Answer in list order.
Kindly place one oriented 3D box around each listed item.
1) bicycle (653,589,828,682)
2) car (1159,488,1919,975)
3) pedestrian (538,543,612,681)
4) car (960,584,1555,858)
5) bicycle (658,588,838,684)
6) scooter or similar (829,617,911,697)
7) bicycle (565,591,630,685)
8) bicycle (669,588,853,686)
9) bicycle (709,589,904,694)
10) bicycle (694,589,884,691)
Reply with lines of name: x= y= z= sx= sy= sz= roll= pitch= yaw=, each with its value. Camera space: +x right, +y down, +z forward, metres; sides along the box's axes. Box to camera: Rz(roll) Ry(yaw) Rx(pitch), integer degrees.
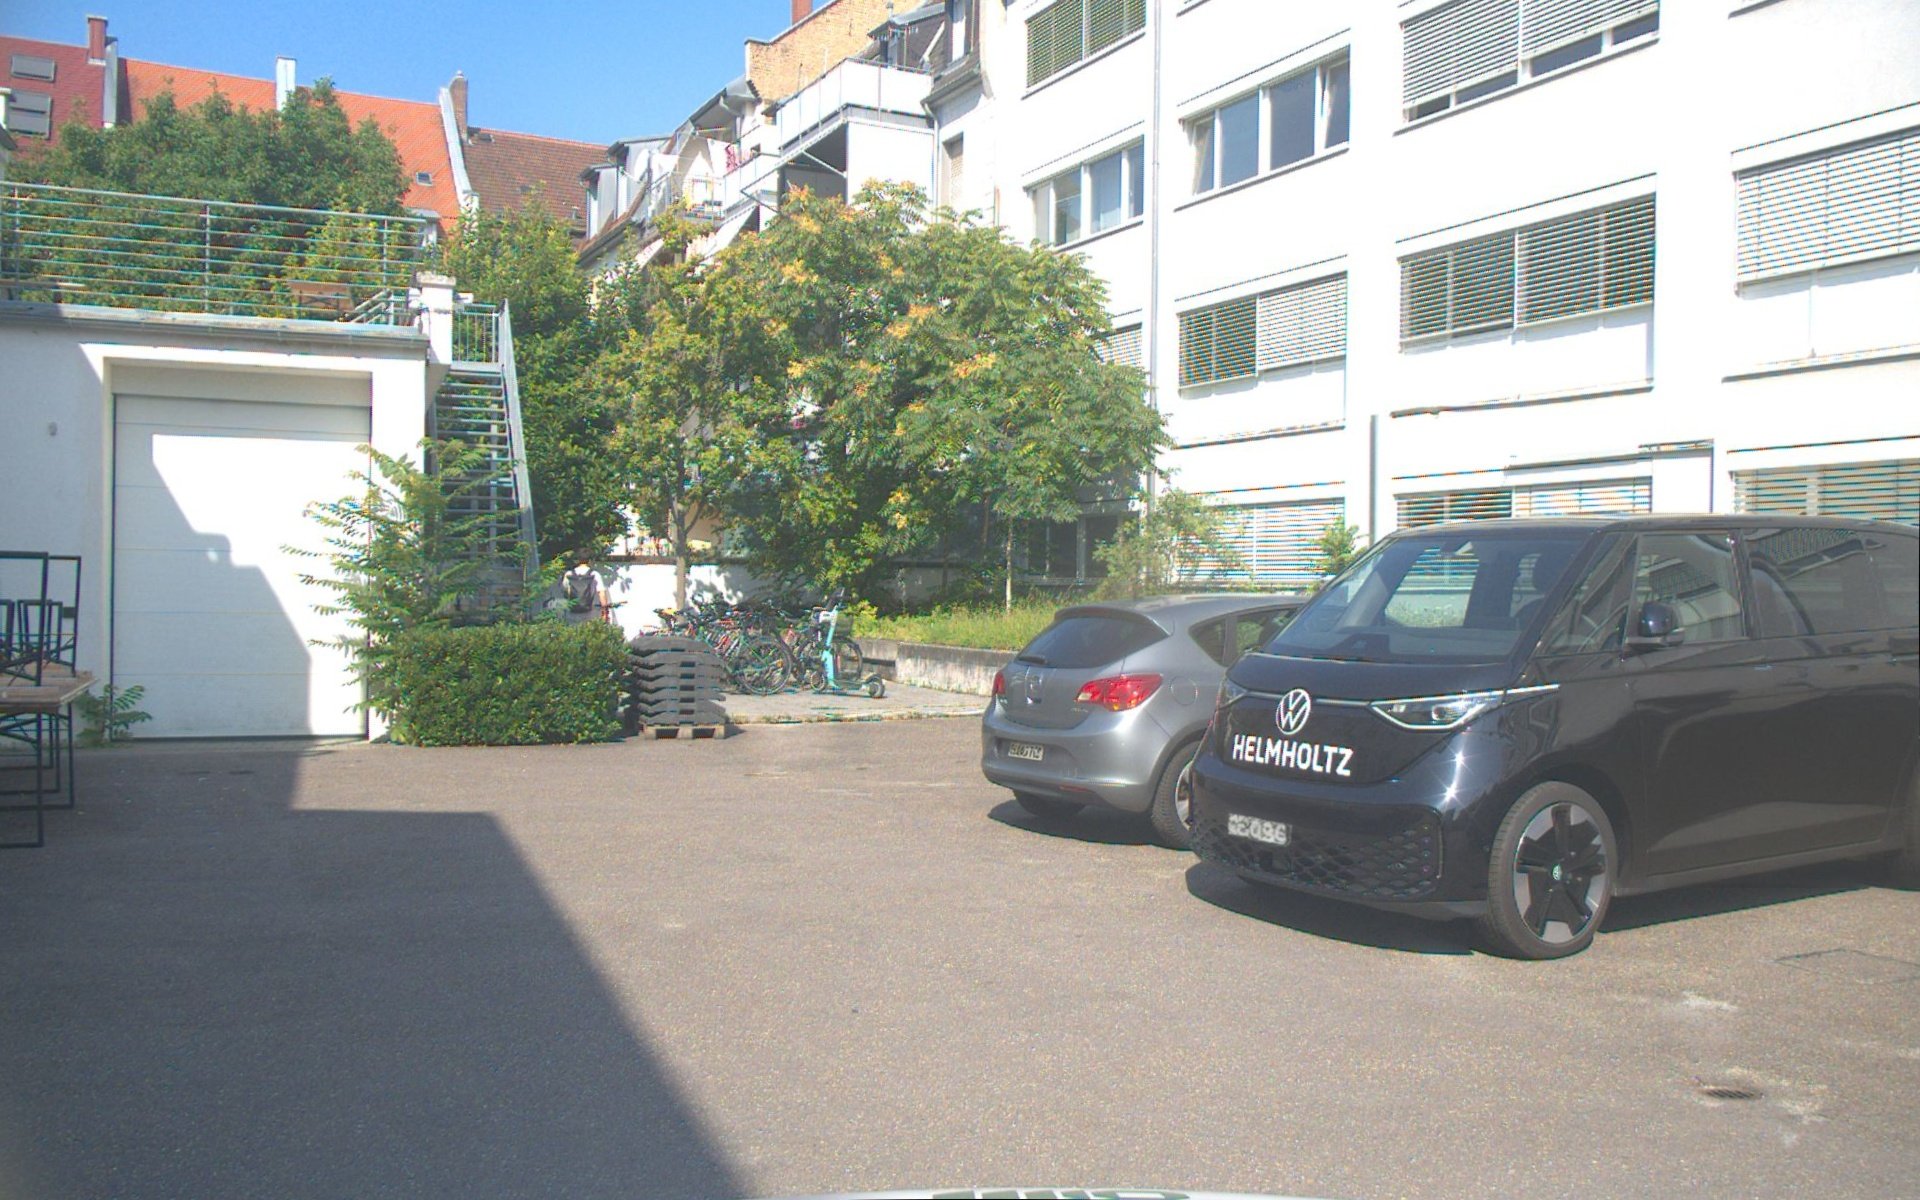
bicycle: x=-3.084 y=0.504 z=23.330 sx=2.376 sy=1.268 sz=0.523 roll=1 pitch=0 yaw=-22
car: x=3.279 y=0.486 z=8.347 sx=4.291 sy=1.891 sz=1.895 roll=0 pitch=1 yaw=-31
pedestrian: x=-5.154 y=0.159 z=22.114 sx=0.846 sy=1.802 sz=0.607 roll=1 pitch=0 yaw=-23
car: x=2.042 y=0.653 z=10.918 sx=3.863 sy=1.491 sz=1.643 roll=0 pitch=1 yaw=-35
bicycle: x=-2.892 y=0.493 z=22.641 sx=2.376 sy=1.268 sz=0.523 roll=1 pitch=0 yaw=-22
scooter or similar: x=-1.128 y=0.701 z=20.643 sx=0.978 sy=0.940 sz=0.359 roll=1 pitch=0 yaw=32
bicycle: x=-4.857 y=0.481 z=22.098 sx=0.482 sy=1.163 sz=1.979 roll=-1 pitch=2 yaw=-23
bicycle: x=-2.654 y=0.502 z=22.121 sx=2.376 sy=1.268 sz=0.523 roll=1 pitch=0 yaw=-22
bicycle: x=-1.914 y=0.527 z=20.791 sx=2.376 sy=1.268 sz=0.523 roll=1 pitch=0 yaw=-22
bicycle: x=-2.201 y=0.521 z=21.405 sx=2.376 sy=1.268 sz=0.523 roll=1 pitch=0 yaw=-22
